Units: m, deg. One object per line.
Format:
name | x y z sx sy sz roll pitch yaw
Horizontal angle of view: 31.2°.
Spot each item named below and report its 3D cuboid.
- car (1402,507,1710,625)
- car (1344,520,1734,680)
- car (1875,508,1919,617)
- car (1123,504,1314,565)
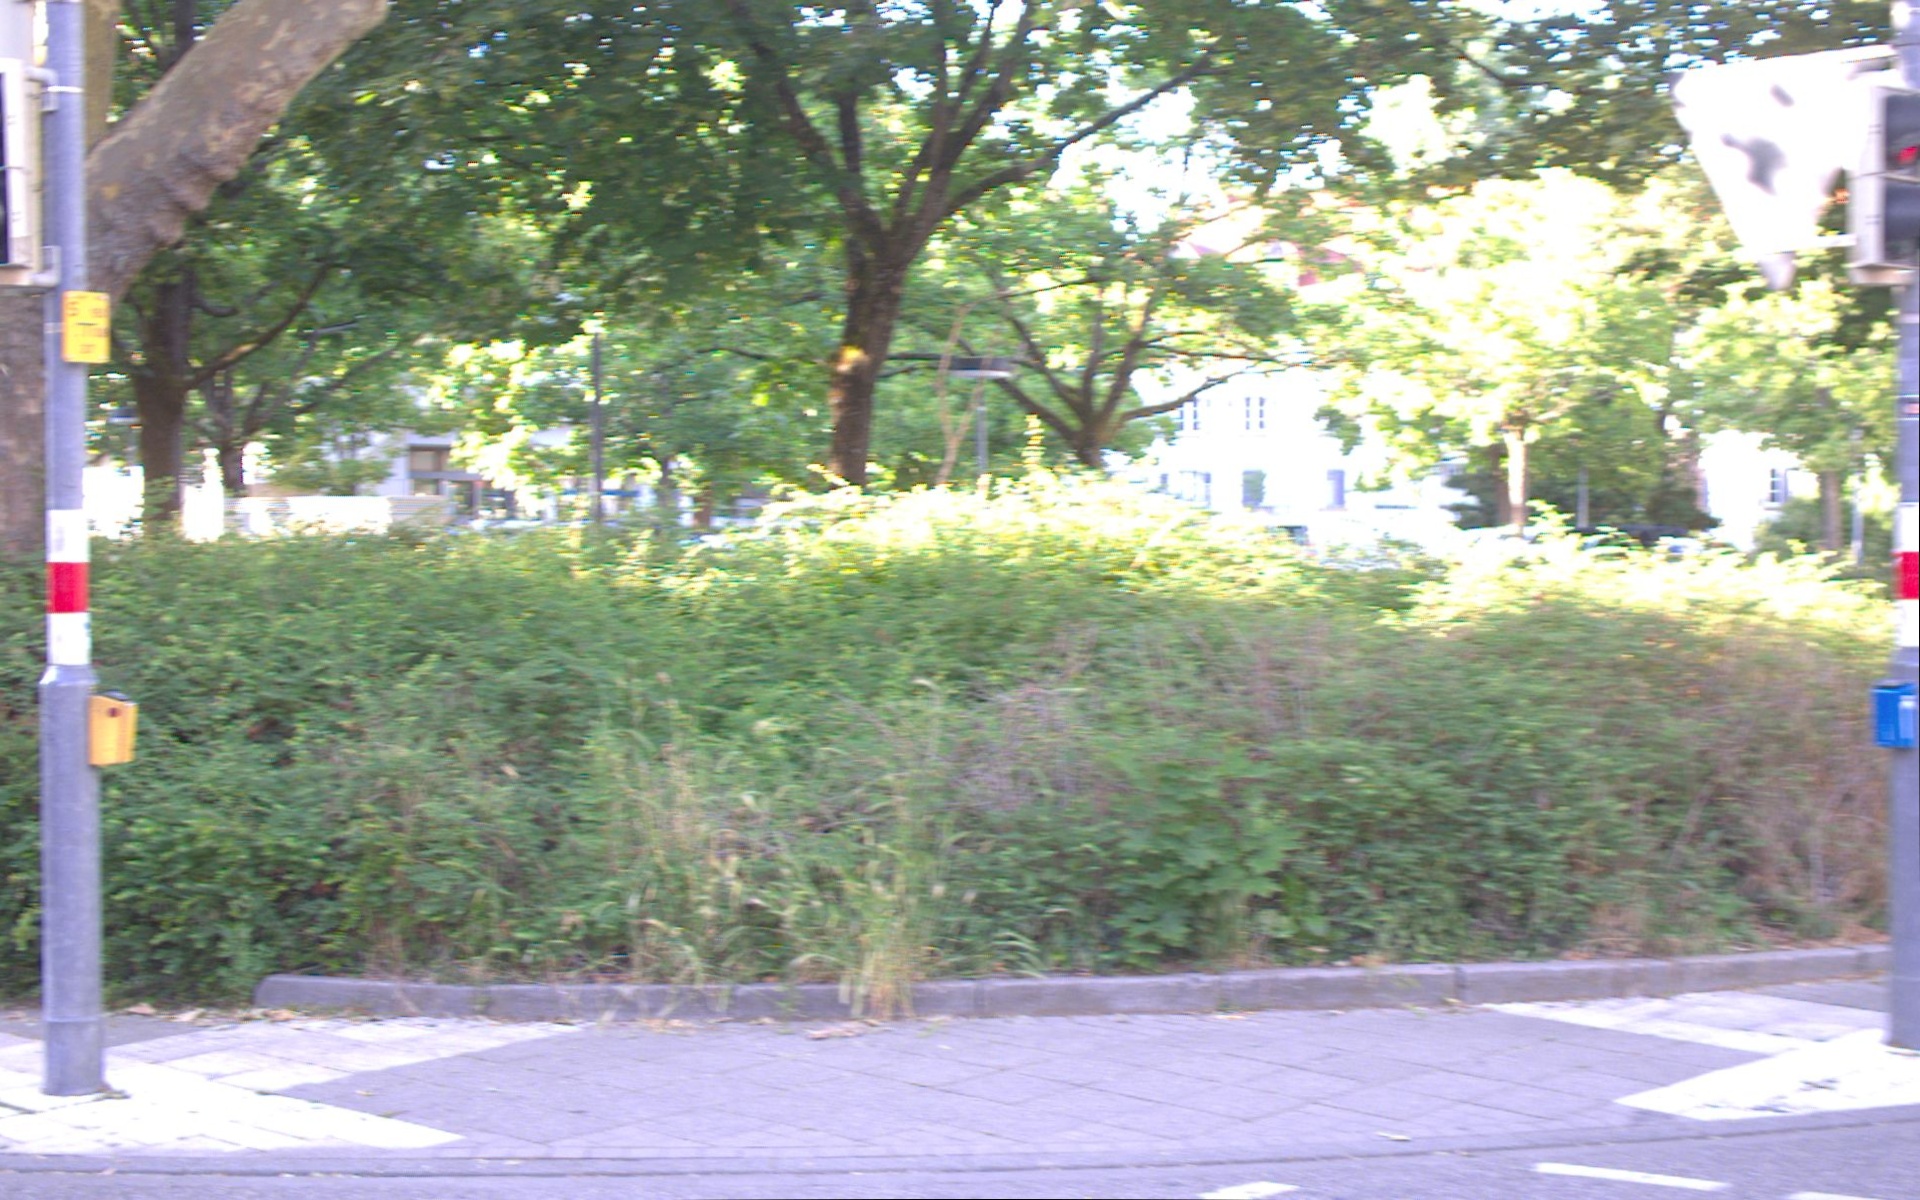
car | 8.632 -0.510 49.980 3.997 1.620 1.919 2 1 44
car | 6.856 -0.050 40.977 4.308 1.805 1.783 1 2 43
car | 18.580 -0.631 61.064 4.042 1.940 1.919 2 1 43
car | 6.603 -1.687 87.986 4.654 1.470 2.009 2 1 44
